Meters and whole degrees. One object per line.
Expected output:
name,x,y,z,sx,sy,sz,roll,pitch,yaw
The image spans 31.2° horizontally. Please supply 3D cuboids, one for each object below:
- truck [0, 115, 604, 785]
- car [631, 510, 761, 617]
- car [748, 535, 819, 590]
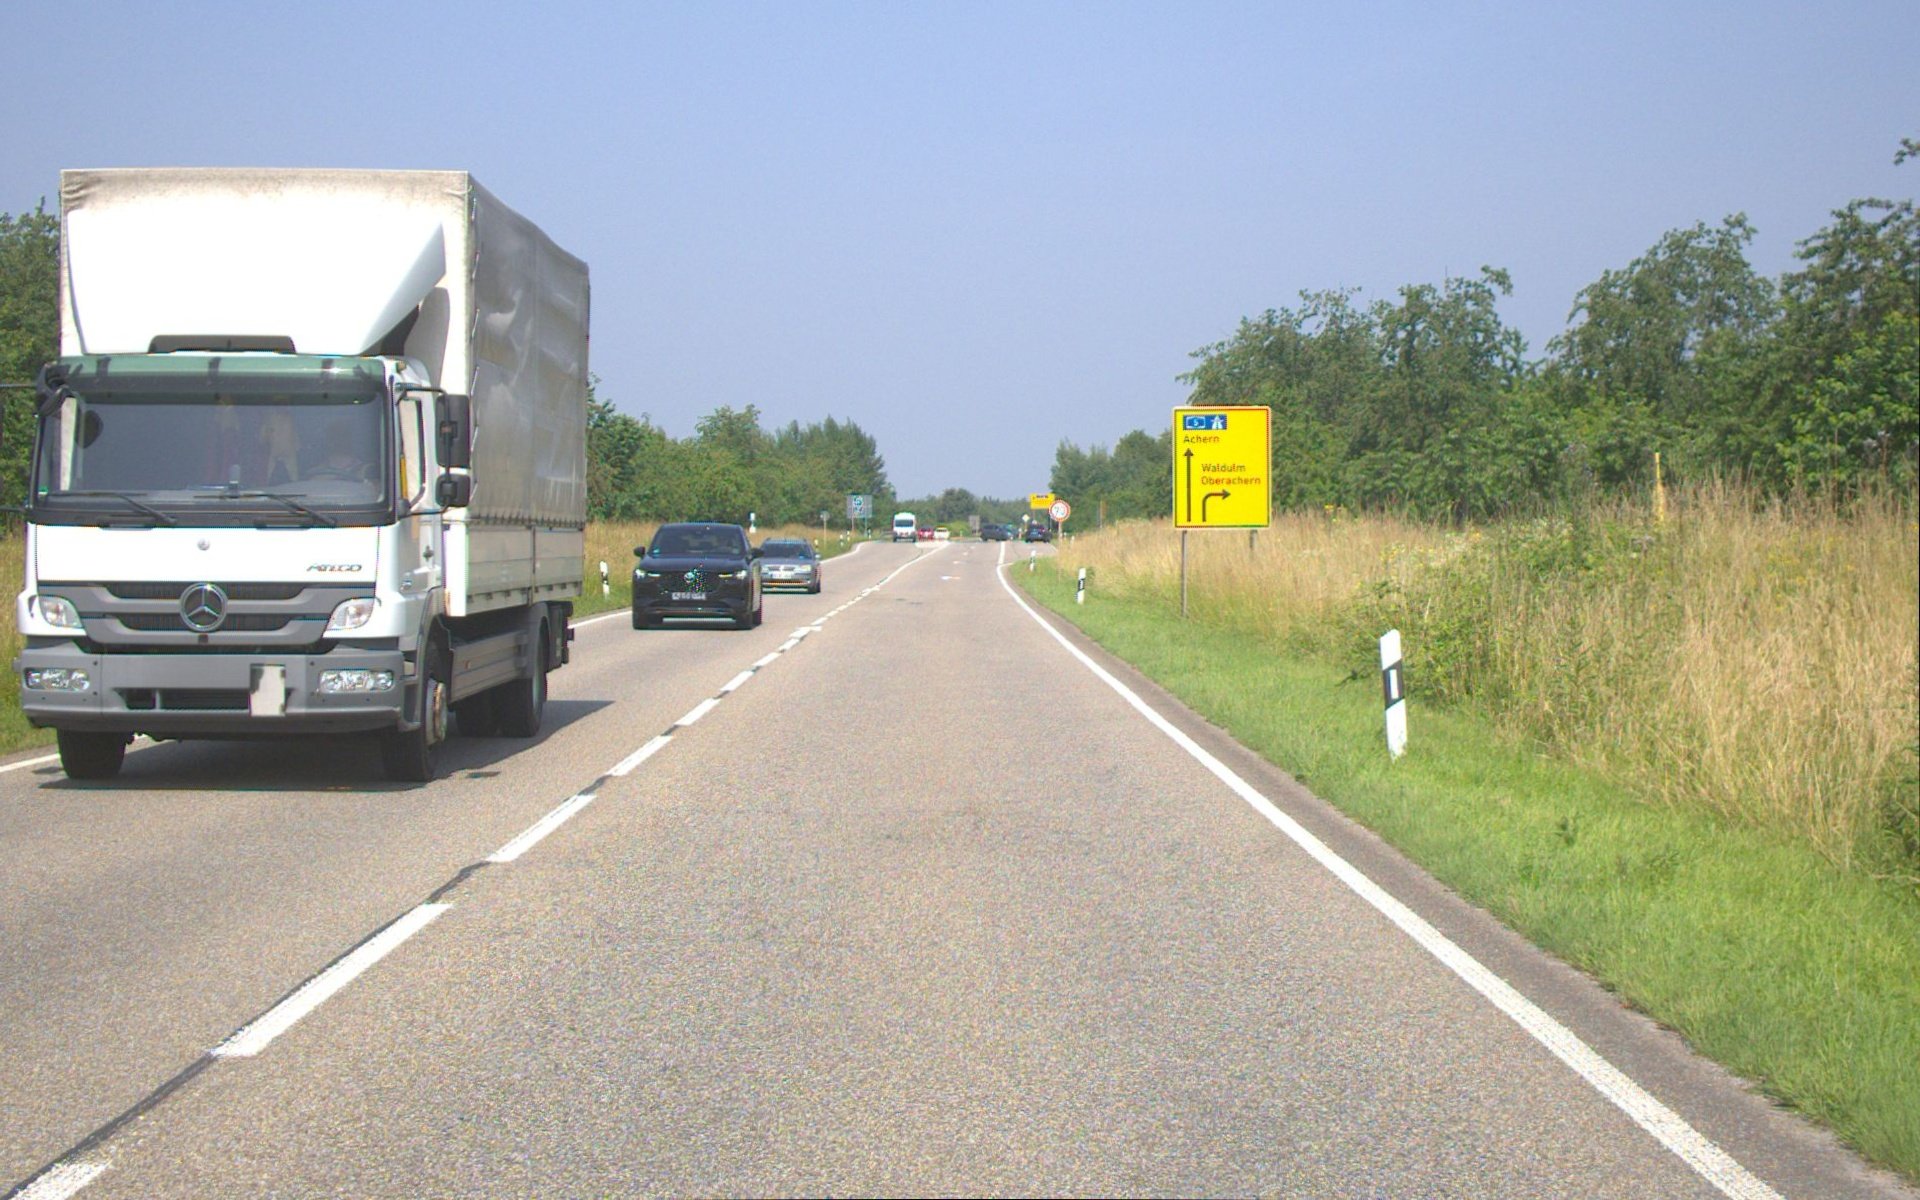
truck,-4.364,-0.956,24.796,2.664,3.825,10.209,0,1,-1
car,-4.255,-0.625,55.982,1.836,1.672,4.411,0,1,-1
car,-4.633,-1.002,90.699,1.690,1.404,4.895,0,1,-1
